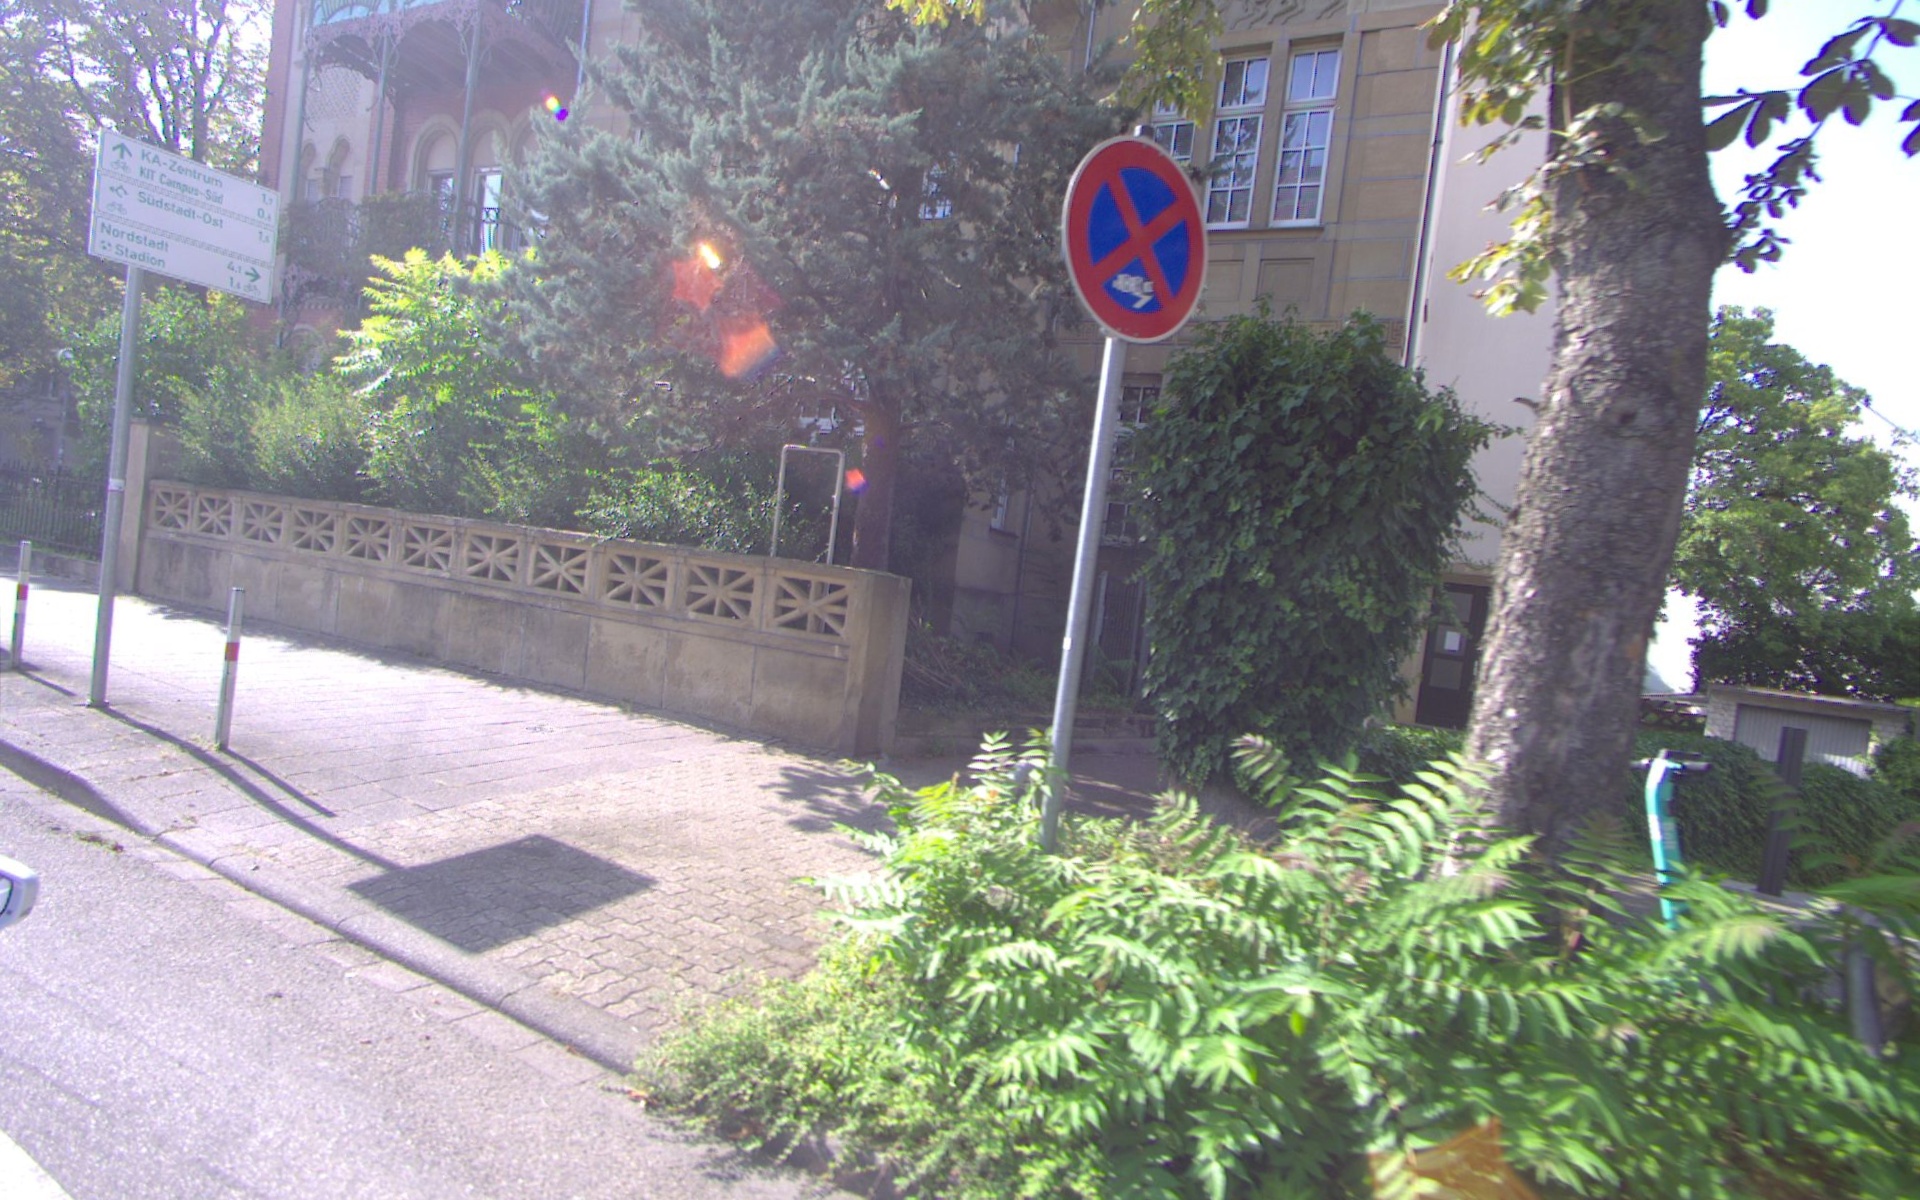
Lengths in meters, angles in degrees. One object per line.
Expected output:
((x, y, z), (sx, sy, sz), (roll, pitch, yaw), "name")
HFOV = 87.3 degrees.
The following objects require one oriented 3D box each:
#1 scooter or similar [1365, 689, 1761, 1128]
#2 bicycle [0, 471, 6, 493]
((2.128, 1.022, 3.657), (1.017, 1.214, 0.557), (8, 5, 31), "scooter or similar")
((-46.546, -5.730, 47.625), (1.914, 0.990, 0.494), (7, 1, -19), "bicycle")
